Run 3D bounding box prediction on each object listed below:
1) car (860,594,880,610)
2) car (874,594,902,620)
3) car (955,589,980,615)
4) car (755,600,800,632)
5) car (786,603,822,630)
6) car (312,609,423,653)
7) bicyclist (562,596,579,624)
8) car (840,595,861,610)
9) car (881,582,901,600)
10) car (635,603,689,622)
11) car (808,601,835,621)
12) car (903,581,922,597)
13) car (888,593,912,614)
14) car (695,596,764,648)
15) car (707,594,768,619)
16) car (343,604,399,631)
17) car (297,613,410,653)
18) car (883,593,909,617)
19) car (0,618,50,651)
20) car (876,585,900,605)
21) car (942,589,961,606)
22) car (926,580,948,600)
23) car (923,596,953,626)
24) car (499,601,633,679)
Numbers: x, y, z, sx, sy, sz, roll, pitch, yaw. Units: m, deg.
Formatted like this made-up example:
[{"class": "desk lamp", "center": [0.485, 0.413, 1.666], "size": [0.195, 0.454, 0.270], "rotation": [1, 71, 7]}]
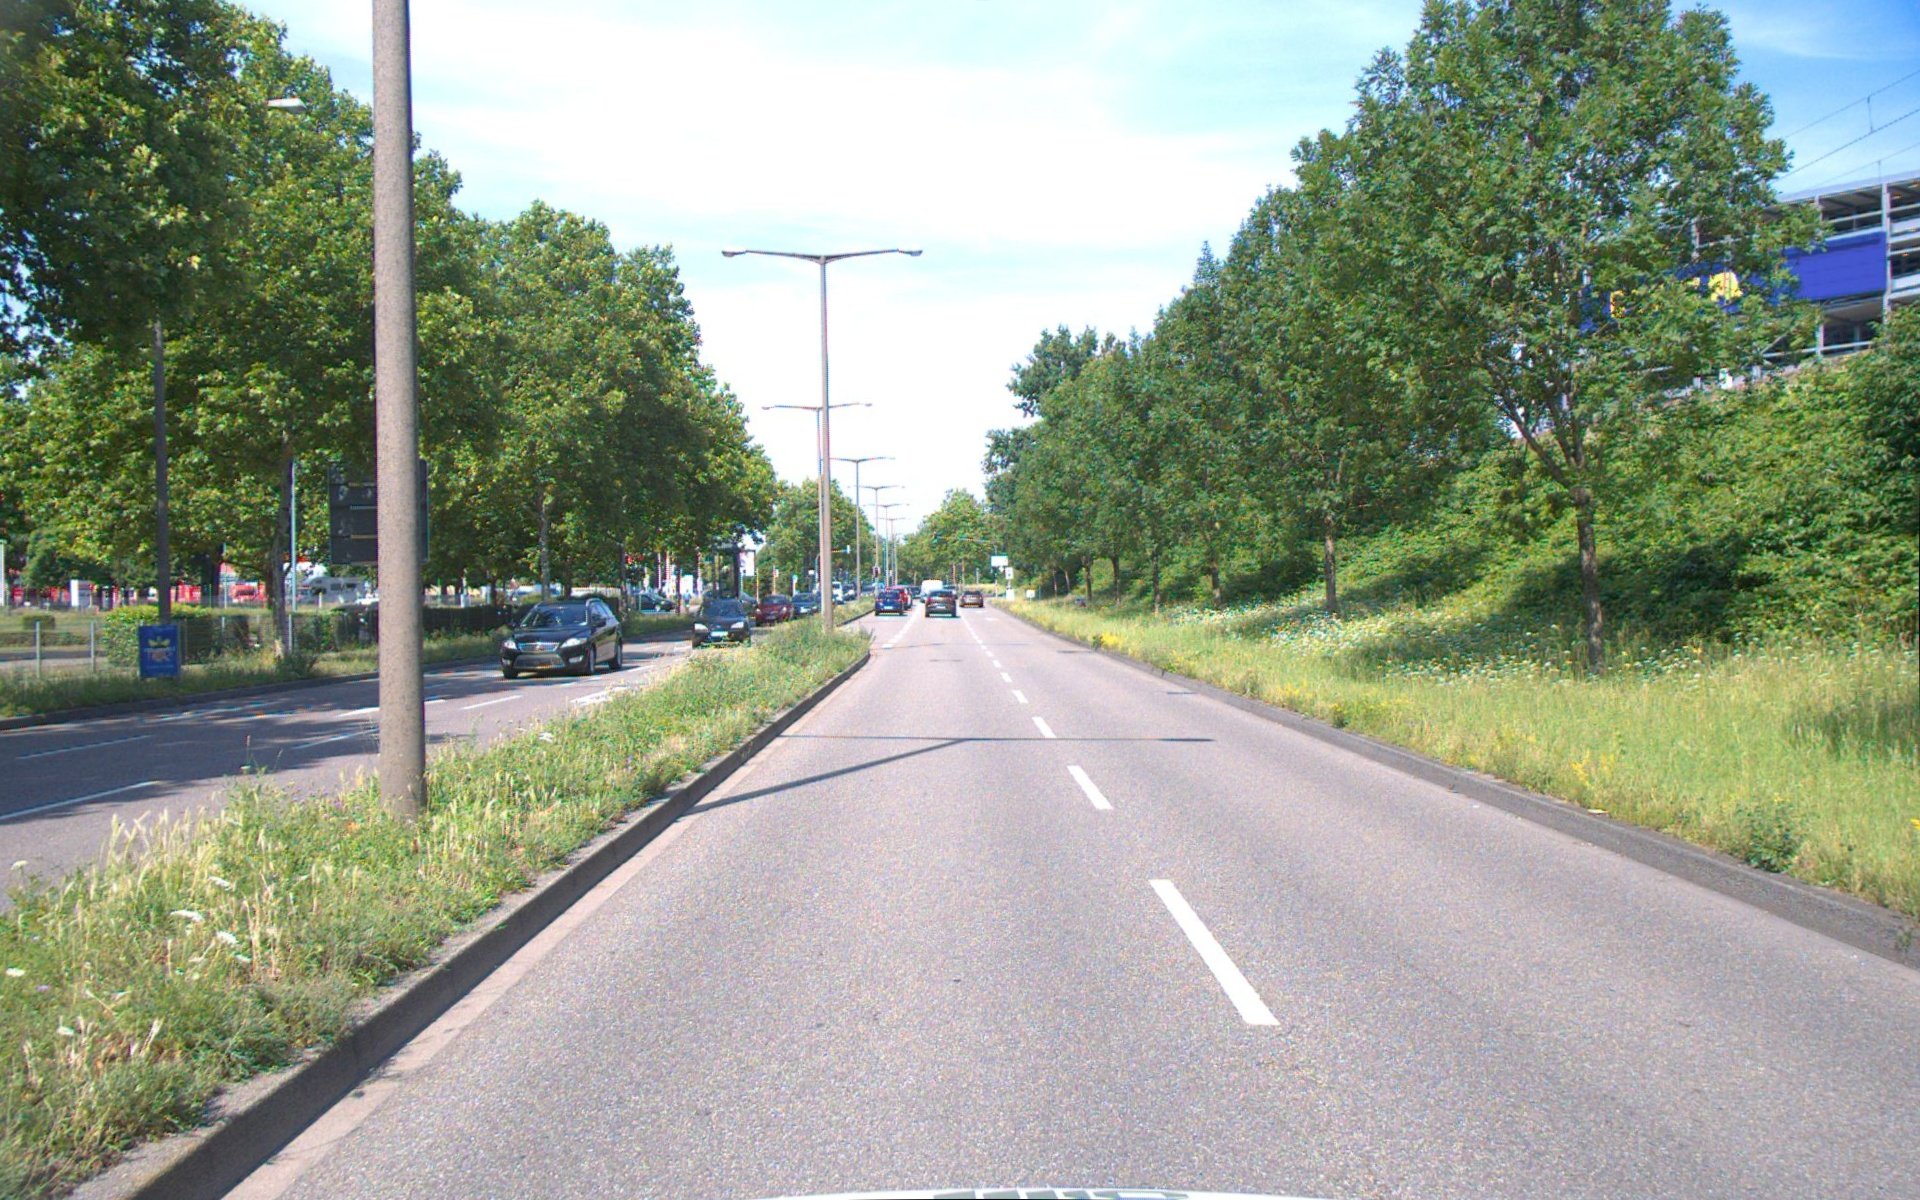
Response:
[{"class": "car", "center": [-10.437, 0.240, 191.170], "size": [1.952, 1.806, 4.001], "rotation": [-1, 0, 2]}, {"class": "car", "center": [-4.303, 0.425, 99.427], "size": [1.593, 1.509, 4.047], "rotation": [1, 0, -1]}, {"class": "car", "center": [0.570, 0.126, 131.925], "size": [1.977, 1.869, 4.001], "rotation": [0, 2, -1]}, {"class": "car", "center": [-9.071, 0.779, 82.535], "size": [1.727, 1.488, 4.000], "rotation": [-2, 0, 0]}, {"class": "car", "center": [-9.095, 0.963, 96.657], "size": [1.802, 1.504, 4.165], "rotation": [-1, 0, -1]}, {"class": "car", "center": [-25.288, 1.308, 70.678], "size": [3.903, 1.855, 2.157], "rotation": [0, -1, 3]}, {"class": "bicyclist", "center": [-21.386, 0.521, 90.809], "size": [0.667, 1.511, 0.942], "rotation": [-1, 0, -1]}, {"class": "car", "center": [-12.087, 0.284, 183.025], "size": [1.953, 1.557, 4.681], "rotation": [-2, 0, -1]}, {"class": "car", "center": [-7.687, -1.001, 184.064], "size": [1.952, 1.892, 4.000], "rotation": [-1, 0, 0]}, {"class": "car", "center": [-23.406, 0.994, 129.887], "size": [3.909, 1.412, 1.764], "rotation": [-1, 1, 26]}, {"class": "car", "center": [-10.403, 0.815, 124.176], "size": [1.732, 1.494, 4.282], "rotation": [-1, 0, -2]}, {"class": "car", "center": [-4.989, -1.141, 174.431], "size": [1.895, 1.676, 3.999], "rotation": [-1, 0, -1]}, {"class": "car", "center": [-4.474, 0.248, 123.851], "size": [1.730, 1.505, 4.134], "rotation": [1, 0, -1]}, {"class": "car", "center": [-7.163, 0.672, 51.785], "size": [1.737, 1.493, 4.668], "rotation": [-2, 0, -3]}, {"class": "car", "center": [-16.924, 0.499, 125.755], "size": [4.302, 1.781, 1.866], "rotation": [-1, 0, 29]}, {"class": "car", "center": [-39.357, 1.190, 110.471], "size": [1.981, 1.694, 4.775], "rotation": [-2, 0, -40]}, {"class": "car", "center": [-24.706, 1.319, 67.480], "size": [3.905, 1.490, 1.772], "rotation": [-1, 0, 0]}, {"class": "car", "center": [-4.517, 0.330, 116.573], "size": [1.746, 1.620, 4.592], "rotation": [0, 0, -1]}, {"class": "car", "center": [-49.511, 1.761, 85.714], "size": [3.902, 1.530, 1.807], "rotation": [0, 2, 15]}, {"class": "car", "center": [-6.355, -0.447, 145.975], "size": [1.953, 1.738, 4.262], "rotation": [-1, 0, -1]}, {"class": "car", "center": [-0.914, -0.291, 173.406], "size": [1.953, 1.738, 4.262], "rotation": [-1, 0, -1]}, {"class": "car", "center": [-2.062, -0.936, 149.269], "size": [1.953, 1.738, 4.263], "rotation": [-1, 0, 0]}, {"class": "car", "center": [-1.285, 0.615, 97.040], "size": [1.701, 1.562, 4.001], "rotation": [0, 3, -1]}, {"class": "car", "center": [-8.220, 0.784, 34.946], "size": [1.790, 1.493, 4.986], "rotation": [-1, 0, -2]}]
